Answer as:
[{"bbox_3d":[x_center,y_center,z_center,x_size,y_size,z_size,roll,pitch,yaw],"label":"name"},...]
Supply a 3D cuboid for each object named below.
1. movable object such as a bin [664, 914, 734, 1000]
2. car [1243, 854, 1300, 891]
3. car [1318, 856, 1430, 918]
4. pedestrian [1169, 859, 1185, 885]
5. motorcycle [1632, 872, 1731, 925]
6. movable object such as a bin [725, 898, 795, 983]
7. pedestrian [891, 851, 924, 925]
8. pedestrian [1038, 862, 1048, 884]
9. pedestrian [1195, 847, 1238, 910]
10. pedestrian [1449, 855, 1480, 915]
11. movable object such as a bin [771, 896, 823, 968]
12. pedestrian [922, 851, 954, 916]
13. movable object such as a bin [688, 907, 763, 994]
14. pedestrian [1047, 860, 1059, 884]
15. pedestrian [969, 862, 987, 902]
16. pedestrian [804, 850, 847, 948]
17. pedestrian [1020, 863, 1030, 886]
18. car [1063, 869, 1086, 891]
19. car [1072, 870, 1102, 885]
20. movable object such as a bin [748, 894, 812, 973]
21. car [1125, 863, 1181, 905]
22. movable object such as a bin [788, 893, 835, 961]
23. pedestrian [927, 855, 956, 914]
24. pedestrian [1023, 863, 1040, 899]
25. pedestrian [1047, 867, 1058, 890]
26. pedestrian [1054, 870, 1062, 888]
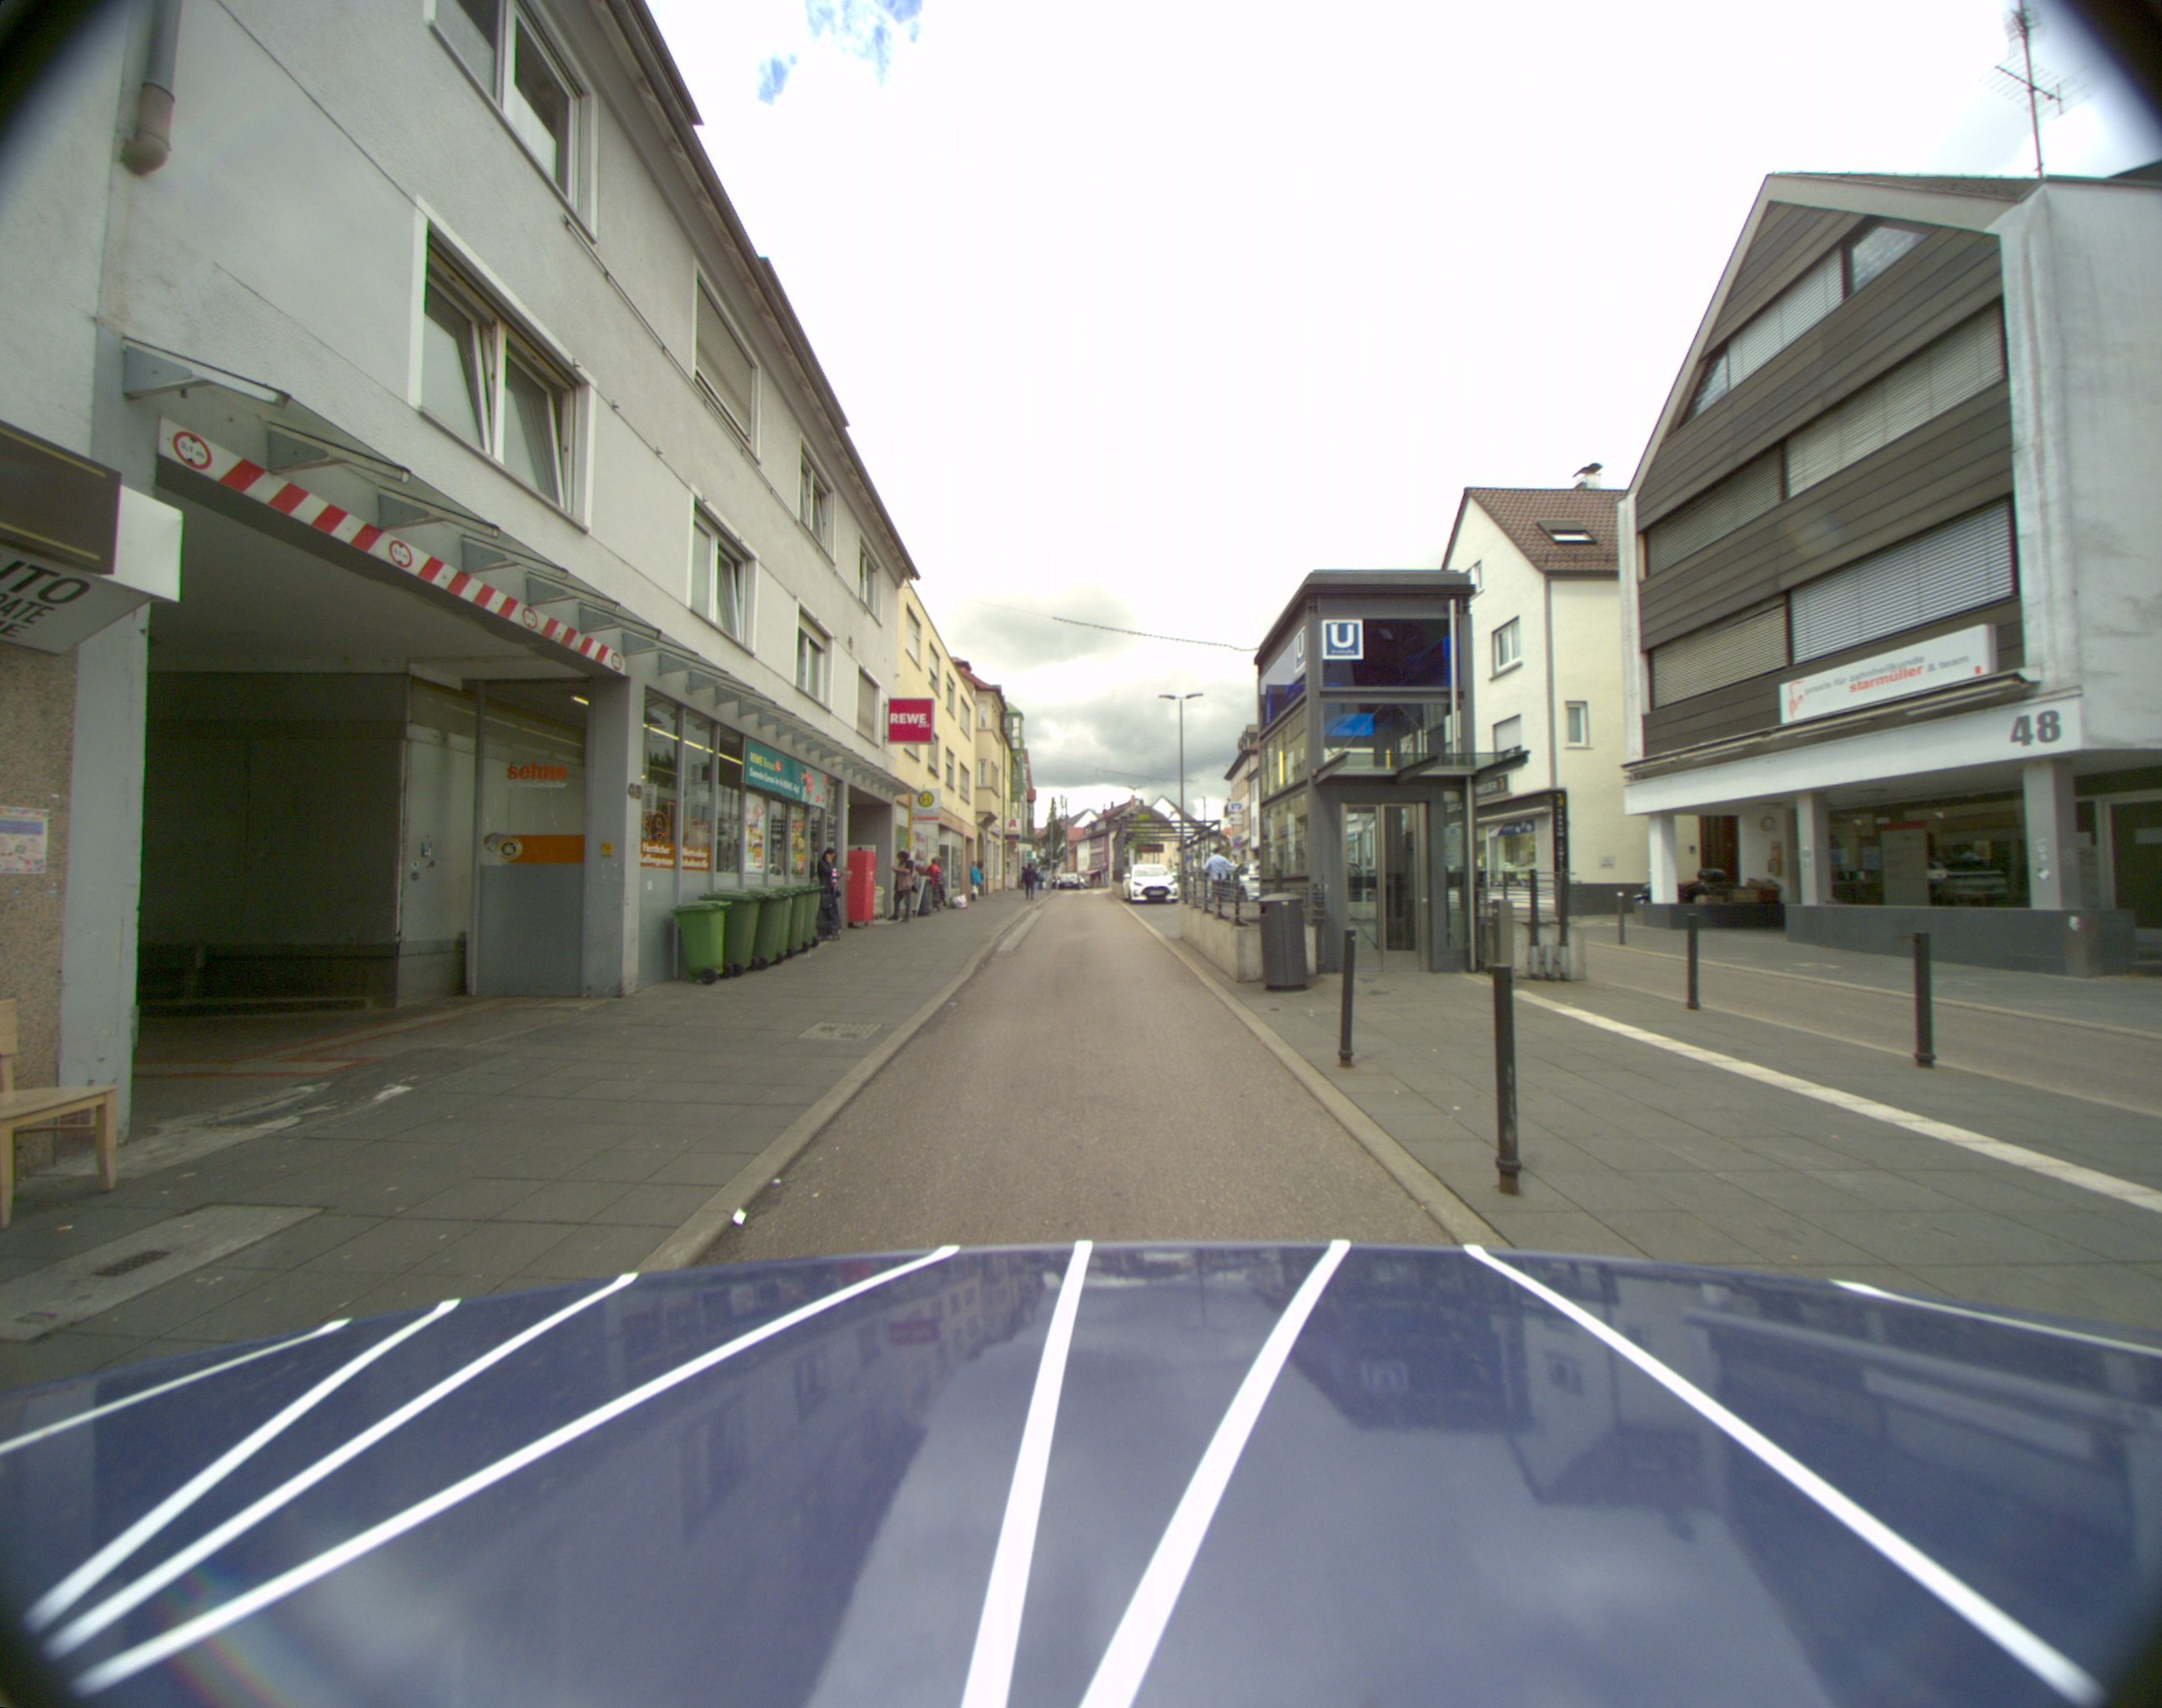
[{"bbox_3d":[-4.504,1.203,8.976,0.568,0.951,0.498,0,0,0],"label":"movable object such as a bin"},{"bbox_3d":[9.117,0.854,36.747,1.684,1.562,4.122,-2,1,0],"label":"car"},{"bbox_3d":[8.528,0.899,22.497,1.684,1.562,4.122,-2,1,0],"label":"car"},{"bbox_3d":[6.245,1.158,49.444,0.745,1.620,0.655,-3,1,-39],"label":"pedestrian"},{"bbox_3d":[14.326,1.052,18.163,1.854,1.134,0.634,-2,1,-1],"label":"motorcycle"},{"bbox_3d":[-4.304,1.151,10.230,0.652,1.074,0.673,0,0,0],"label":"movable object such as a bin"},{"bbox_3d":[-4.087,0.792,17.942,0.627,1.716,0.607,1,1,-4],"label":"pedestrian"},{"bbox_3d":[-2.862,1.420,56.834,0.657,1.620,0.743,-2,1,-7],"label":"pedestrian"},{"bbox_3d":[4.097,0.738,23.033,1.097,1.831,0.931,-2,1,1],"label":"pedestrian"},{"bbox_3d":[11.133,0.887,22.054,0.592,1.706,0.513,-2,1,0],"label":"pedestrian"},{"bbox_3d":[-4.329,1.178,11.606,0.569,1.053,0.574,0,0,0],"label":"movable object such as a bin"},{"bbox_3d":[-4.114,0.837,21.862,0.628,1.811,0.605,-3,1,-34],"label":"pedestrian"},{"bbox_3d":[-4.462,1.197,9.571,0.670,1.024,0.560,0,0,0],"label":"movable object such as a bin"},{"bbox_3d":[-1.919,1.238,51.886,0.657,1.620,0.743,-2,1,-7],"label":"pedestrian"},{"bbox_3d":[-4.287,1.159,31.650,0.627,1.620,0.606,-2,1,-5],"label":"pedestrian"},{"bbox_3d":[-4.679,0.805,13.920,0.628,1.716,0.606,-3,1,-23],"label":"pedestrian"},{"bbox_3d":[-3.919,1.435,53.232,0.657,1.620,0.743,-2,1,-2],"label":"pedestrian"},{"bbox_3d":[-0.515,2.075,61.545,1.741,1.608,3.842,-2,1,0],"label":"car"},{"bbox_3d":[0.714,2.663,85.765,1.774,1.570,4.634,-1,0,23],"label":"car"},{"bbox_3d":[-4.323,1.126,10.961,0.652,1.074,0.659,0,0,0],"label":"movable object such as a bin"},{"bbox_3d":[2.669,1.119,28.948,1.754,1.452,3.602,-2,-1,0],"label":"car"},{"bbox_3d":[-4.313,1.160,12.189,0.560,1.050,0.559,0,0,0],"label":"movable object such as a bin"},{"bbox_3d":[-4.153,0.900,22.614,0.608,1.716,0.626,-3,1,-29],"label":"pedestrian"},{"bbox_3d":[-2.271,1.234,34.861,0.657,1.620,0.743,-2,1,-2],"label":"pedestrian"},{"bbox_3d":[-2.123,1.835,56.694,0.657,1.620,0.743,-2,1,-7],"label":"pedestrian"},{"bbox_3d":[-2.215,2.386,72.746,0.657,1.620,0.743,-2,1,-3],"label":"pedestrian"}]
